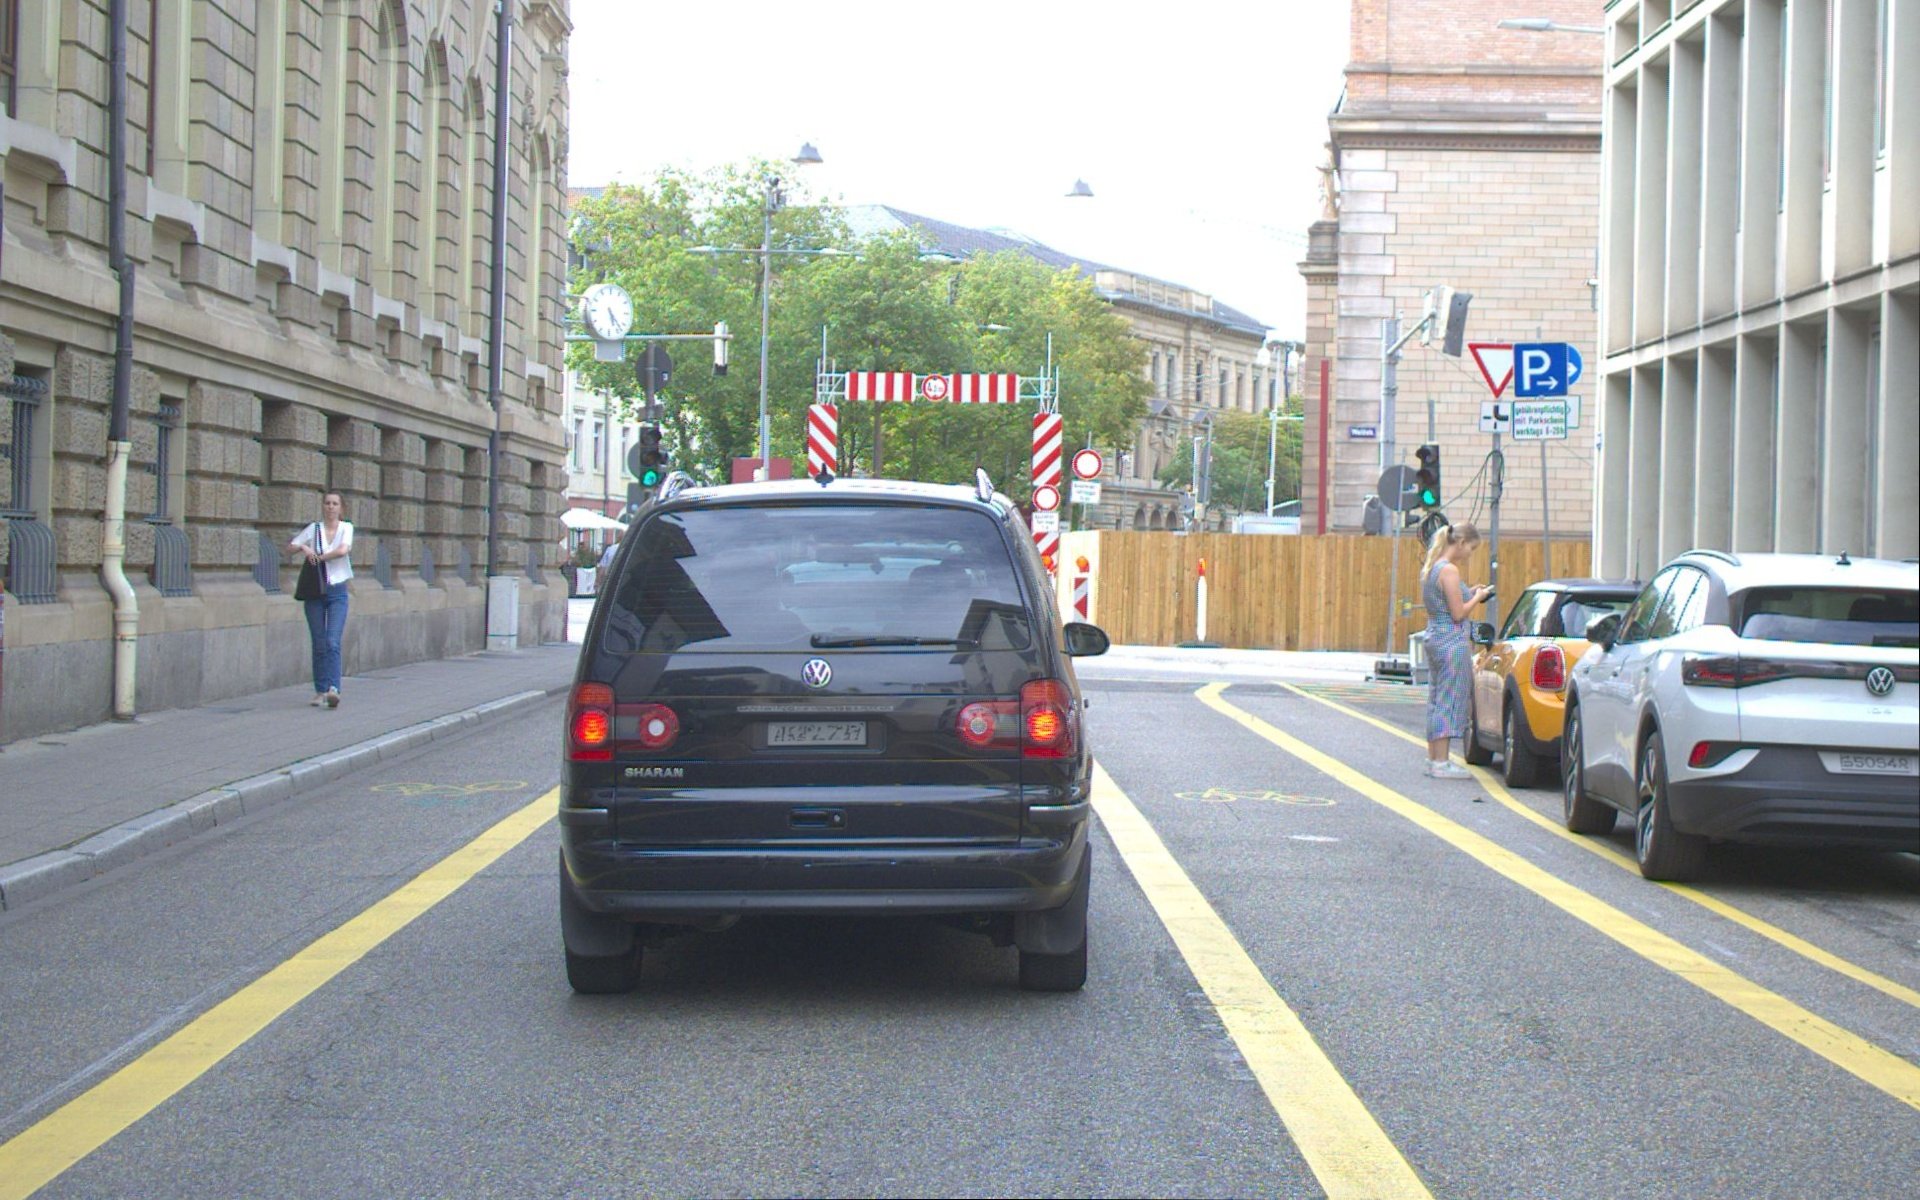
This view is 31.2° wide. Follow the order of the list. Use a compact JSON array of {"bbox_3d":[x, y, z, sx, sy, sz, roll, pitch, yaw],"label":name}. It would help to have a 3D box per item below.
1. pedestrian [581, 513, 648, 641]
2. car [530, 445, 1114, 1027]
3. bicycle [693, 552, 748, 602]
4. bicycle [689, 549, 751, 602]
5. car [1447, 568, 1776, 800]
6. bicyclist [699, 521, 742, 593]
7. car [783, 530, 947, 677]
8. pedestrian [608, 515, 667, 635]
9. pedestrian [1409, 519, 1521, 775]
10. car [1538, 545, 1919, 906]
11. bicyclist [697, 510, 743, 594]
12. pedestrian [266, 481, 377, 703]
[{"bbox_3d":[-5.051,-0.336,50.327,0.792,1.813,1.048,3,0,-1],"label":"pedestrian"},{"bbox_3d":[-0.349,0.405,12.659,1.790,1.784,4.103,-1,0,2],"label":"car"},{"bbox_3d":[-4.937,-0.478,70.663,0.735,1.005,2.069,1,0,-15],"label":"bicycle"},{"bbox_3d":[-4.673,-0.477,66.737,0.735,1.005,2.069,1,0,-17],"label":"bicycle"},{"bbox_3d":[4.564,0.536,24.580,1.680,1.430,3.886,3,1,2],"label":"car"},{"bbox_3d":[-4.932,-0.887,70.658,0.735,1.465,0.809,1,0,-13],"label":"bicyclist"},{"bbox_3d":[-1.065,0.022,39.770,1.773,1.580,4.000,1,0,-1],"label":"car"},{"bbox_3d":[-5.010,-0.394,53.474,0.792,1.813,1.048,3,0,-4],"label":"pedestrian"},{"bbox_3d":[3.531,0.322,24.074,0.698,1.757,0.706,1,0,4],"label":"pedestrian"},{"bbox_3d":[4.287,0.573,17.993,1.860,1.599,4.512,3,1,2],"label":"car"},{"bbox_3d":[-4.666,-0.930,66.736,0.735,1.606,0.695,1,0,-17],"label":"bicyclist"},{"bbox_3d":[-5.386,-0.072,29.031,0.664,1.813,1.048,3,0,-1],"label":"pedestrian"}]
